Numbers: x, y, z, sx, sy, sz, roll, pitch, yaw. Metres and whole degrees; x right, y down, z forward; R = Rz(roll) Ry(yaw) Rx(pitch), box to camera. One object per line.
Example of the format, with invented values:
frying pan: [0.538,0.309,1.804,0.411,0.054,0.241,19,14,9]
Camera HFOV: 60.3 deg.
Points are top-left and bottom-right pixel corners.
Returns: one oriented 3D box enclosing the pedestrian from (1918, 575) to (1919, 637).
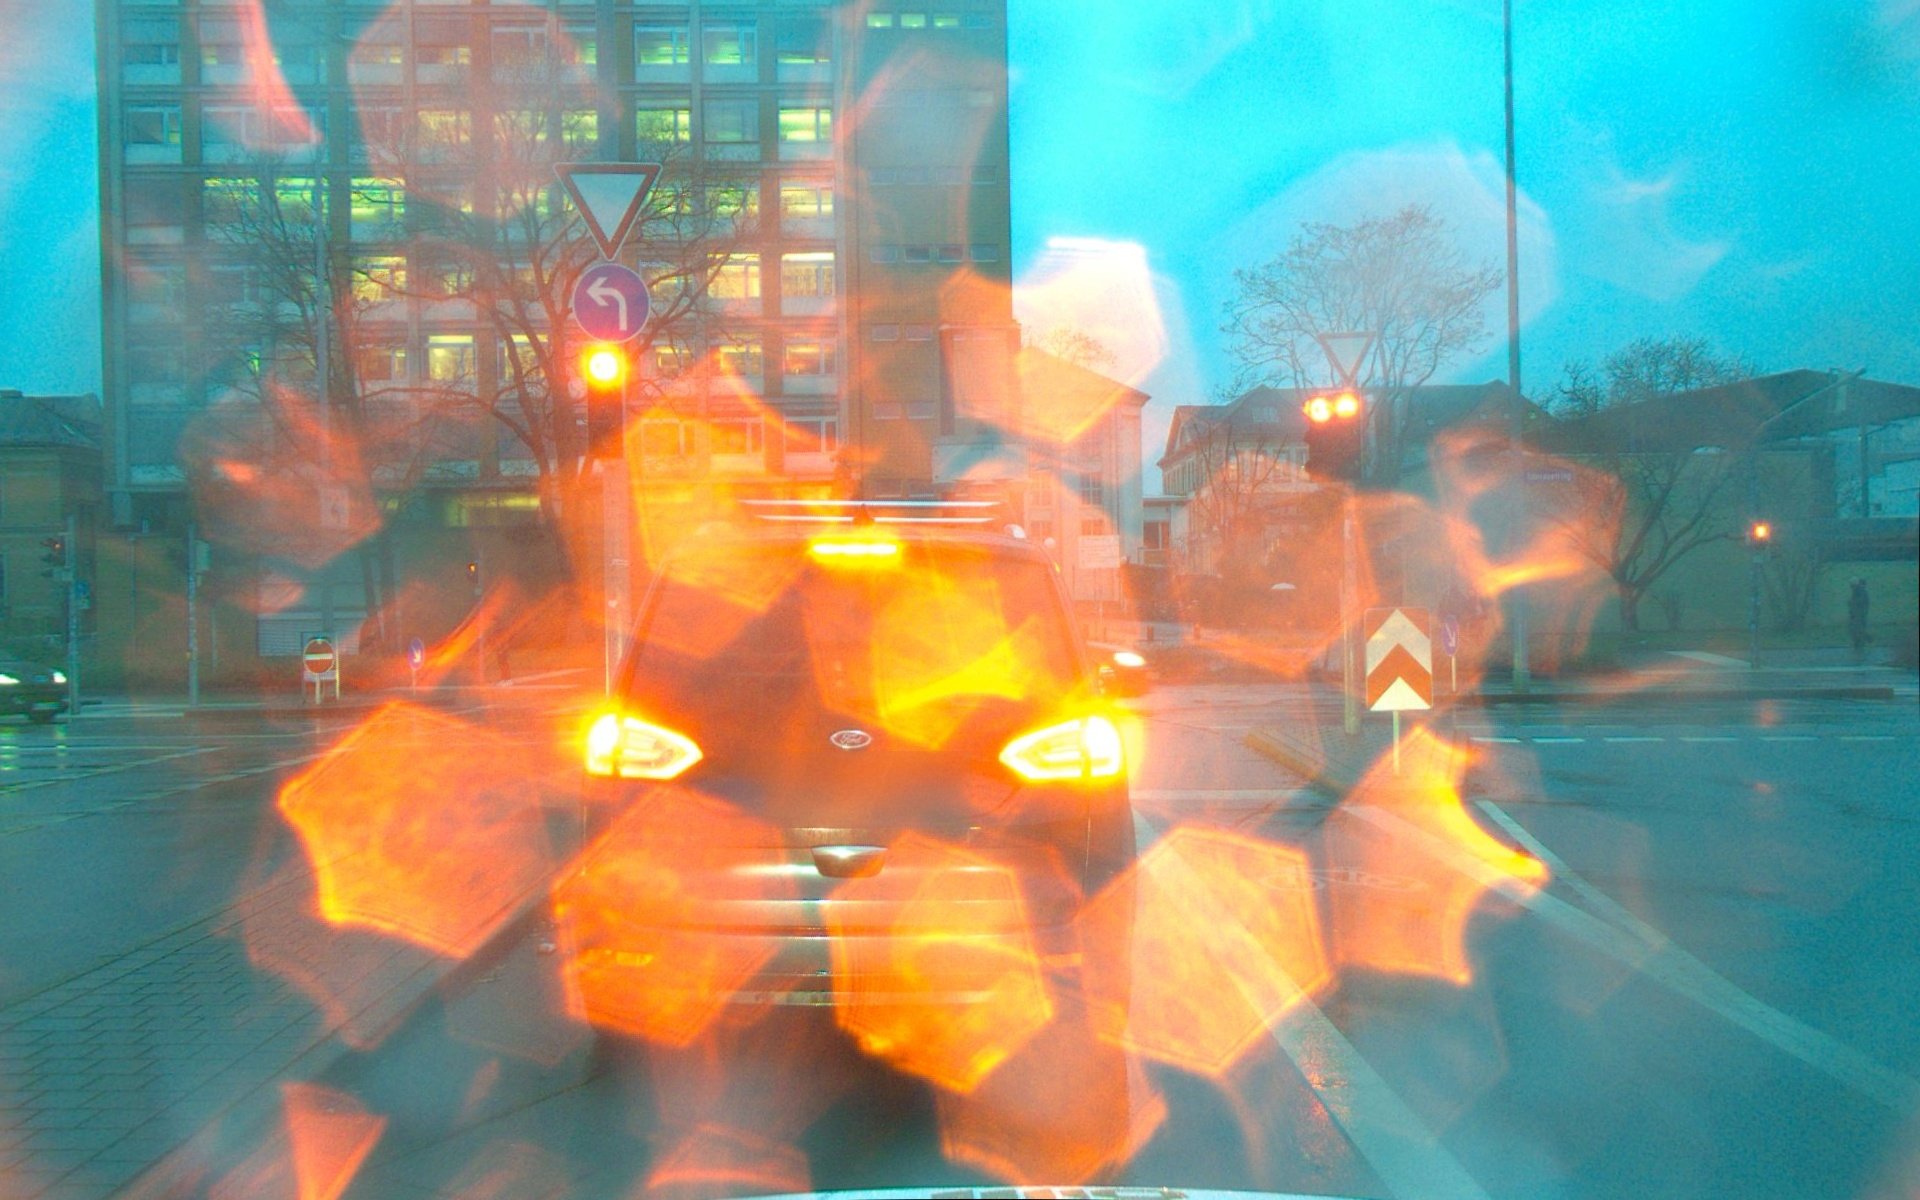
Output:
pedestrian: [24.516,0.140,41.103,0.875,1.559,0.886,-2,0,0]

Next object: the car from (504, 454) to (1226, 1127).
car: [-0.284,0.535,6.549,1.953,1.821,3.999,1,0,-1]

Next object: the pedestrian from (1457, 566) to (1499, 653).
pedestrian: [13.152,0.235,42.037,0.874,2.150,0.886,-2,0,11]

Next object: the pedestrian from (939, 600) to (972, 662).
pedestrian: [-0.121,0.831,44.955,0.743,1.656,0.558,-2,0,12]

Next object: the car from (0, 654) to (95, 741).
car: [-16.437,1.609,27.306,3.675,1.324,1.702,-2,-1,17]

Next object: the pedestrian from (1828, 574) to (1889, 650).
pedestrian: [22.284,0.289,41.026,0.976,1.831,0.919,-2,0,0]

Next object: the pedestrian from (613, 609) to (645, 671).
pedestrian: [-9.414,1.133,47.063,0.625,1.718,0.637,-2,0,16]

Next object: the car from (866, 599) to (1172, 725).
car: [0.875,0.861,23.338,4.035,1.610,1.843,-2,-1,11]

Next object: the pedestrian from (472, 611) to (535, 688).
pedestrian: [-11.759,1.265,42.618,0.981,1.874,1.139,-2,2,22]

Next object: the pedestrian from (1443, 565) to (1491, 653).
pedestrian: [12.595,0.217,41.106,0.875,2.150,0.886,-2,0,-1]
